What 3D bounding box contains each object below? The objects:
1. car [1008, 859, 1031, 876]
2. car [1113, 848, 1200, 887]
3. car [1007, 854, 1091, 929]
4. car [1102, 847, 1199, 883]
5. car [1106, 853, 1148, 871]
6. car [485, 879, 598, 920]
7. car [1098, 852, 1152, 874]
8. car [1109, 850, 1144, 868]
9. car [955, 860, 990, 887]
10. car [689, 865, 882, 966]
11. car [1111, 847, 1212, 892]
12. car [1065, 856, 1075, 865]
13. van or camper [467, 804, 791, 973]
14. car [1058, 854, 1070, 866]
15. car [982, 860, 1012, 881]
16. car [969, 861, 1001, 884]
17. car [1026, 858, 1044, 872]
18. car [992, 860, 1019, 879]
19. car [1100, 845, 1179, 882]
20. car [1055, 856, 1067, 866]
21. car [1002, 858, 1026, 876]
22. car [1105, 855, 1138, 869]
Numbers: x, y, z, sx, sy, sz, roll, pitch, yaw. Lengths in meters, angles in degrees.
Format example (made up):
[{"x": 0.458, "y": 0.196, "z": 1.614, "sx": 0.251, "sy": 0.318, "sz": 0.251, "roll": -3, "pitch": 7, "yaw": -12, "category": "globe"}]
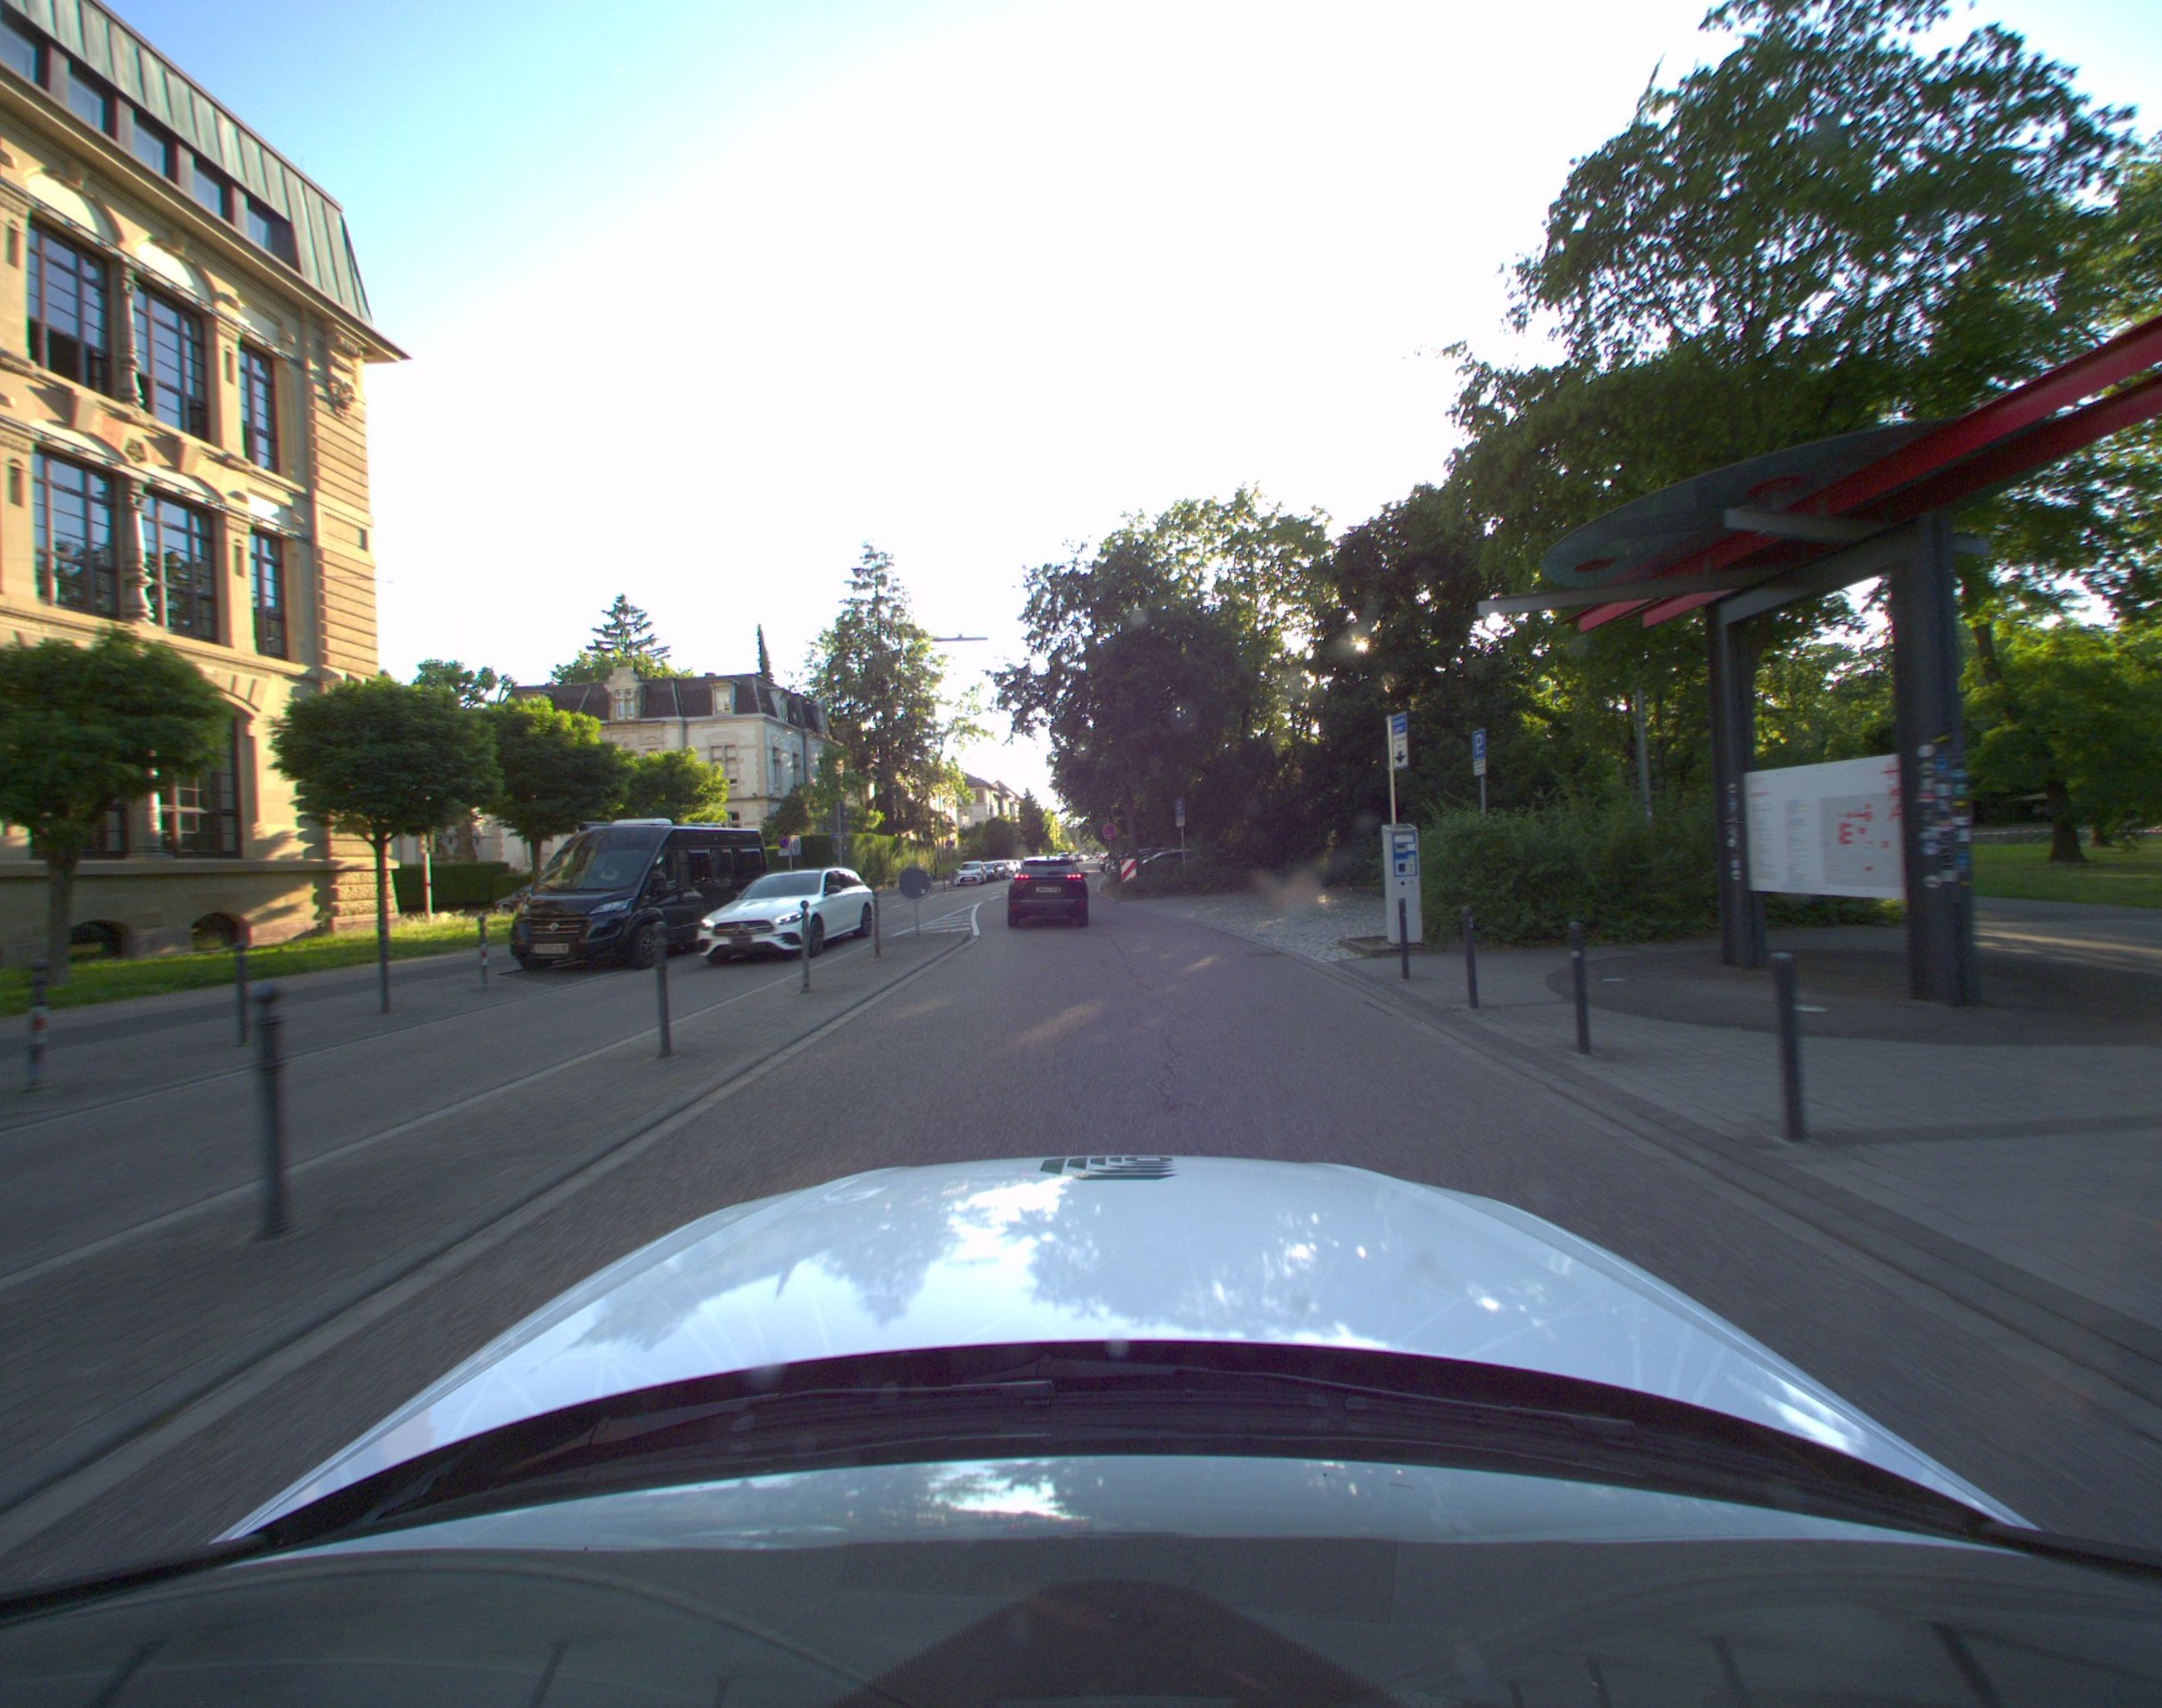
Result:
[{"x": -5.859, "y": 1.244, "z": 77.978, "sx": 1.607, "sy": 1.466, "sz": 4.038, "roll": -3, "pitch": 0, "yaw": 2, "category": "car"}, {"x": 3.534, "y": 0.609, "z": 38.780, "sx": 3.972, "sy": 1.554, "sz": 1.753, "roll": -3, "pitch": 1, "yaw": 1, "category": "car"}, {"x": -0.827, "y": 0.785, "z": 19.149, "sx": 1.768, "sy": 1.568, "sz": 4.102, "roll": 0, "pitch": 0, "yaw": -4, "category": "car"}, {"x": 3.475, "y": 0.533, "z": 40.939, "sx": 4.492, "sy": 1.554, "sz": 1.847, "roll": -3, "pitch": 1, "yaw": -15, "category": "car"}, {"x": 4.430, "y": 0.786, "z": 79.070, "sx": 3.799, "sy": 1.449, "sz": 1.824, "roll": -4, "pitch": -1, "yaw": -3, "category": "car"}, {"x": -25.518, "y": 2.146, "z": 38.633, "sx": 3.975, "sy": 1.673, "sz": 1.919, "roll": -3, "pitch": 0, "yaw": -1, "category": "car"}, {"x": 3.605, "y": 0.743, "z": 66.832, "sx": 4.230, "sy": 1.449, "sz": 2.021, "roll": -4, "pitch": -1, "yaw": -1, "category": "car"}, {"x": 5.524, "y": 0.610, "z": 98.631, "sx": 3.978, "sy": 2.089, "sz": 1.756, "roll": -2, "pitch": -1, "yaw": -4, "category": "car"}, {"x": -6.834, "y": 1.217, "z": 51.641, "sx": 1.608, "sy": 1.515, "sz": 3.711, "roll": -5, "pitch": -1, "yaw": 0, "category": "car"}, {"x": -5.257, "y": 1.006, "z": 15.237, "sx": 1.734, "sy": 1.458, "sz": 4.625, "roll": -3, "pitch": 0, "yaw": 1, "category": "car"}, {"x": 3.272, "y": 0.624, "z": 33.682, "sx": 3.972, "sy": 1.554, "sz": 1.726, "roll": -3, "pitch": 1, "yaw": 1, "category": "car"}, {"x": -2.343, "y": 1.411, "z": 177.867, "sx": 1.986, "sy": 1.816, "sz": 4.001, "roll": -2, "pitch": 0, "yaw": 1, "category": "car"}, {"x": -8.173, "y": 0.550, "z": 15.994, "sx": 2.221, "sy": 2.544, "sz": 7.081, "roll": -1, "pitch": 0, "yaw": 1, "category": "van or camper"}, {"x": -3.101, "y": 1.095, "z": 150.216, "sx": 1.985, "sy": 2.013, "sz": 4.003, "roll": -2, "pitch": 0, "yaw": 3, "category": "car"}, {"x": -6.381, "y": 1.250, "z": 62.010, "sx": 1.607, "sy": 1.466, "sz": 4.038, "roll": -3, "pitch": 0, "yaw": 2, "category": "car"}, {"x": -6.713, "y": 1.292, "z": 57.396, "sx": 1.608, "sy": 1.485, "sz": 3.743, "roll": -3, "pitch": 0, "yaw": 1, "category": "car"}, {"x": -5.347, "y": 1.236, "z": 94.266, "sx": 1.746, "sy": 1.413, "sz": 3.764, "roll": -5, "pitch": 0, "yaw": 0, "category": "car"}, {"x": -6.253, "y": 1.268, "z": 67.785, "sx": 1.607, "sy": 1.466, "sz": 4.038, "roll": -3, "pitch": 0, "yaw": 2, "category": "car"}, {"x": 3.328, "y": 0.540, "z": 46.889, "sx": 4.292, "sy": 1.804, "sz": 2.036, "roll": -4, "pitch": -1, "yaw": 0, "category": "car"}, {"x": -3.425, "y": 1.171, "z": 139.799, "sx": 1.892, "sy": 1.574, "sz": 4.001, "roll": -2, "pitch": 0, "yaw": 1, "category": "car"}, {"x": -6.022, "y": 1.142, "z": 73.282, "sx": 1.607, "sy": 1.466, "sz": 4.038, "roll": -3, "pitch": 0, "yaw": 2, "category": "car"}, {"x": 5.015, "y": 0.983, "z": 101.407, "sx": 3.978, "sy": 1.526, "sz": 1.756, "roll": -2, "pitch": 0, "yaw": -4, "category": "car"}]
